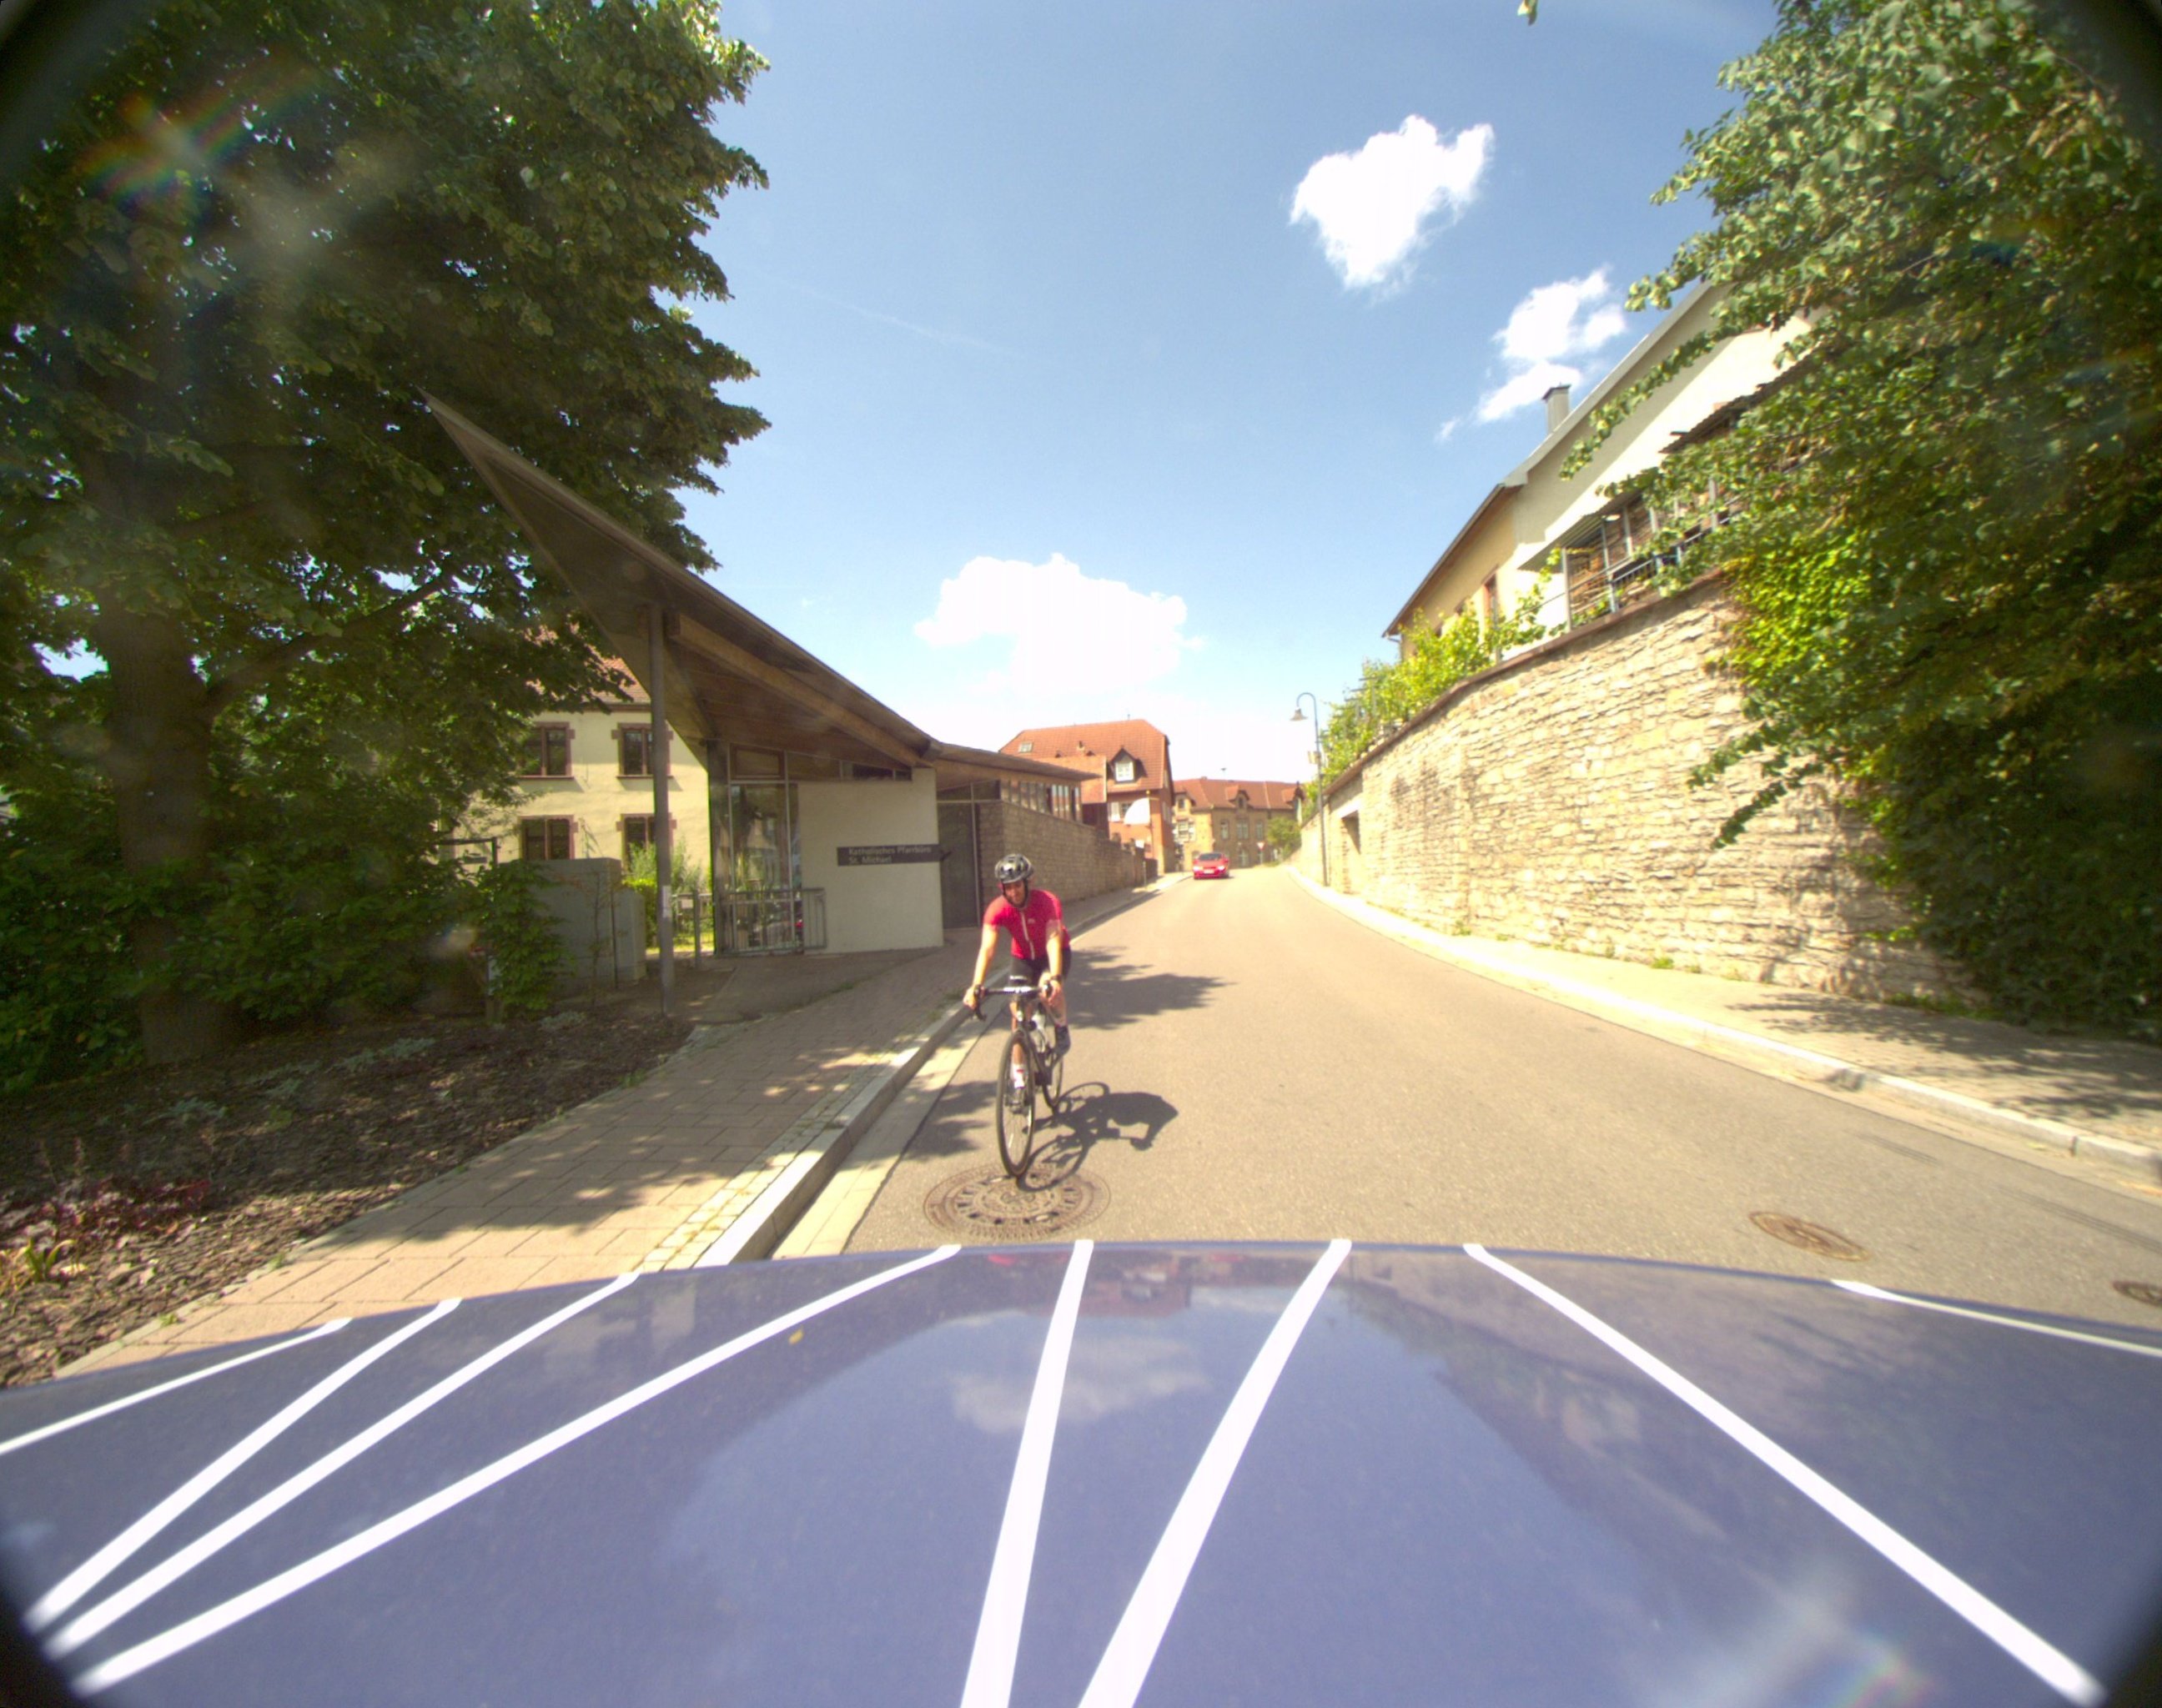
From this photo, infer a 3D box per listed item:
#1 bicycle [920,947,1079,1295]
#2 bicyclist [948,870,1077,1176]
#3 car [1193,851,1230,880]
[{"bbox_3d":[-0.322,1.181,4.009,0.531,1.070,2.053,-2,1,1],"label":"bicycle"},{"bbox_3d":[-0.322,0.801,3.927,0.532,1.396,0.755,-2,2,1],"label":"bicyclist"},{"bbox_3d":[6.965,0.580,40.387,1.668,1.344,3.497,-2,0,13],"label":"car"}]
